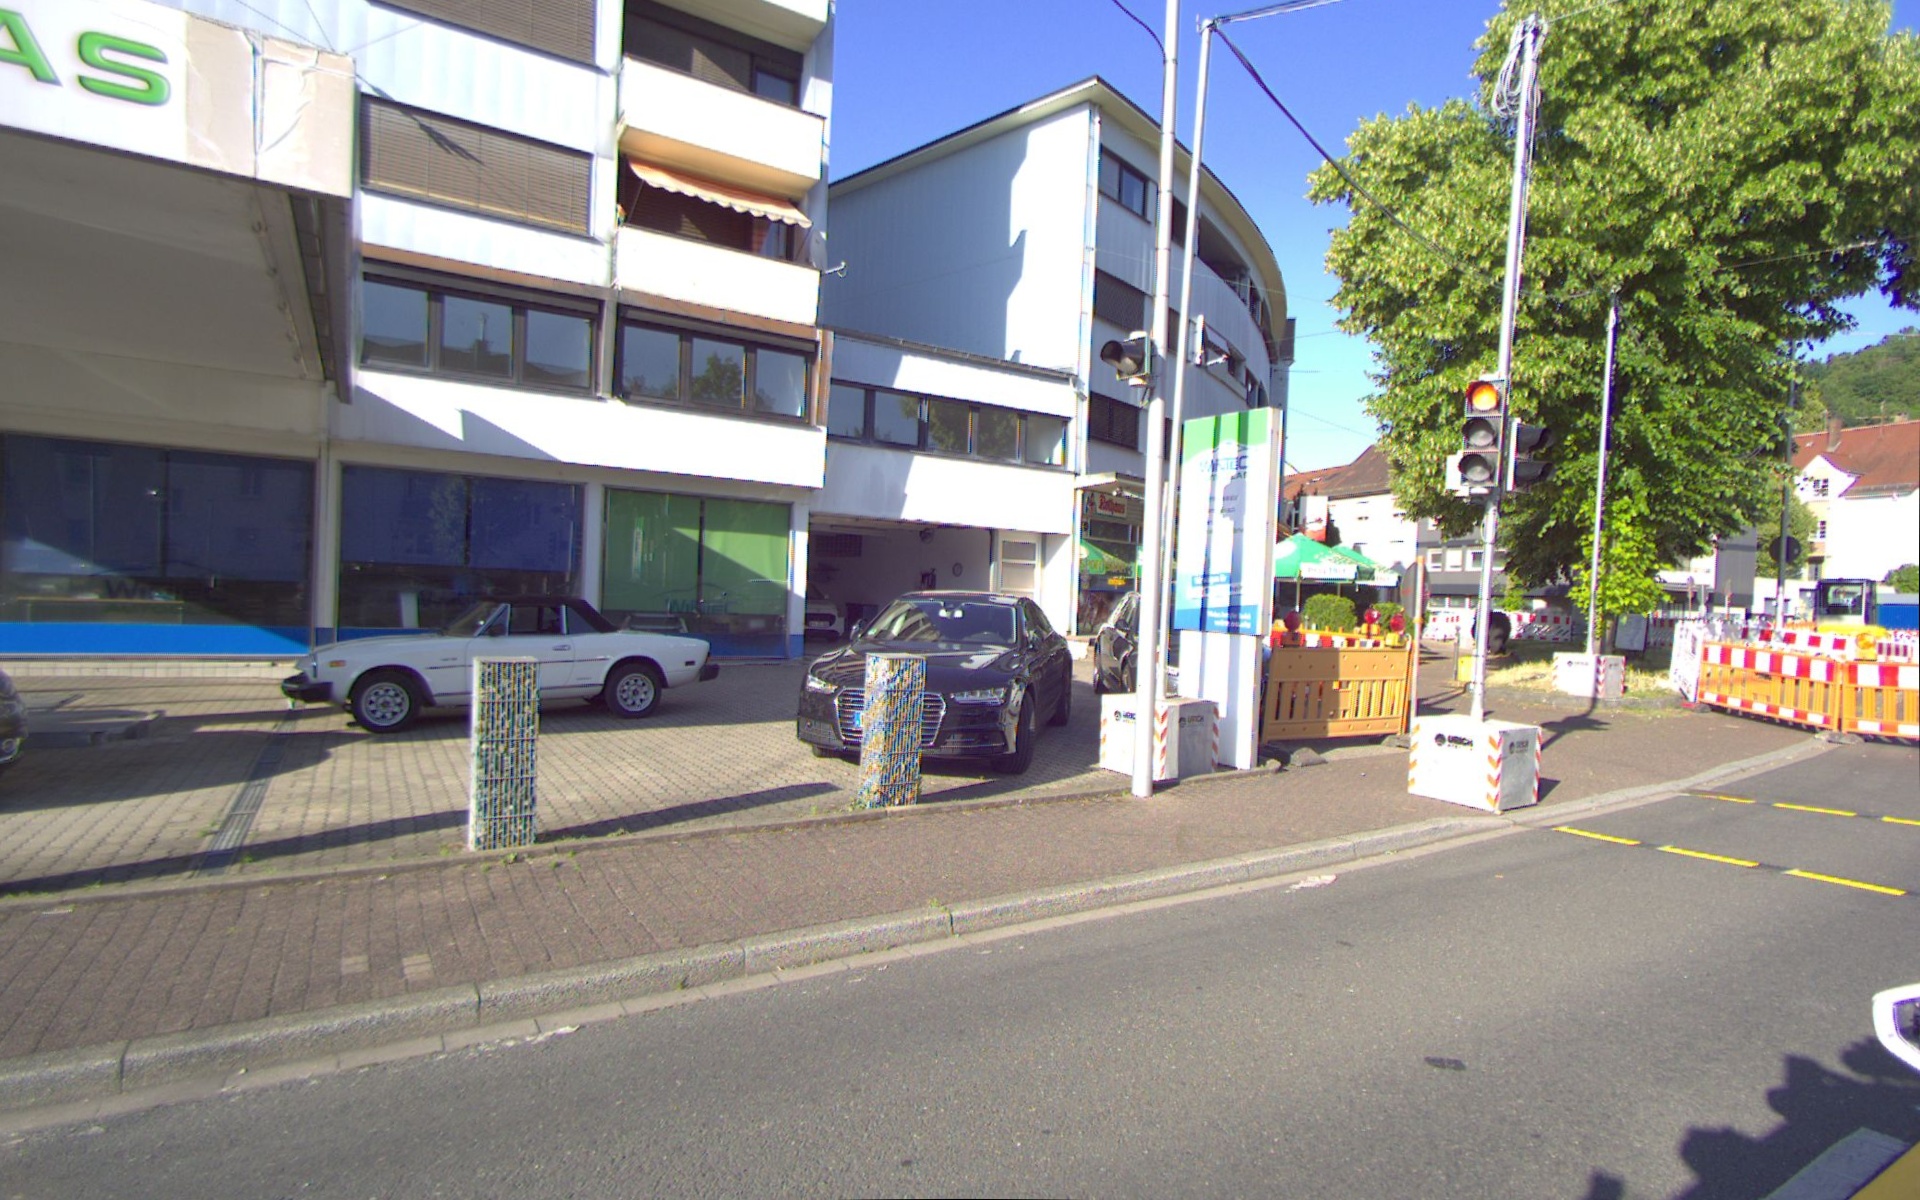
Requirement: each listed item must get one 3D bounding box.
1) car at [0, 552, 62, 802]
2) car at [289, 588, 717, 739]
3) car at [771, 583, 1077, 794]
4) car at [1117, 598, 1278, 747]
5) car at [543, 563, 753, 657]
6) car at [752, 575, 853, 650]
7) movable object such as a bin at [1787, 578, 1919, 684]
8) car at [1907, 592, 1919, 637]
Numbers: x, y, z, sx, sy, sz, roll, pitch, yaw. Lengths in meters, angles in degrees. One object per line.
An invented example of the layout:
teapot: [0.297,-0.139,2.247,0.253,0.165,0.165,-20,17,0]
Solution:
car: [-7.477,0.410,5.859,3.305,1.506,1.543,2,0,8]
car: [-4.670,0.594,10.488,3.865,1.315,1.511,1,-1,-35]
car: [-0.020,0.651,9.571,1.893,1.457,4.692,1,-1,11]
car: [2.764,0.747,12.080,1.564,1.457,3.887,1,0,11]
car: [-6.095,0.220,19.710,3.593,1.696,1.707,2,0,-34]
car: [-3.888,0.256,24.381,1.550,1.629,3.734,2,1,-23]
movable object such as a bin: [21.559,0.704,24.125,3.882,2.356,1.635,1,0,-36]
car: [49.518,0.793,48.444,6.043,2.149,2.586,2,0,-12]
